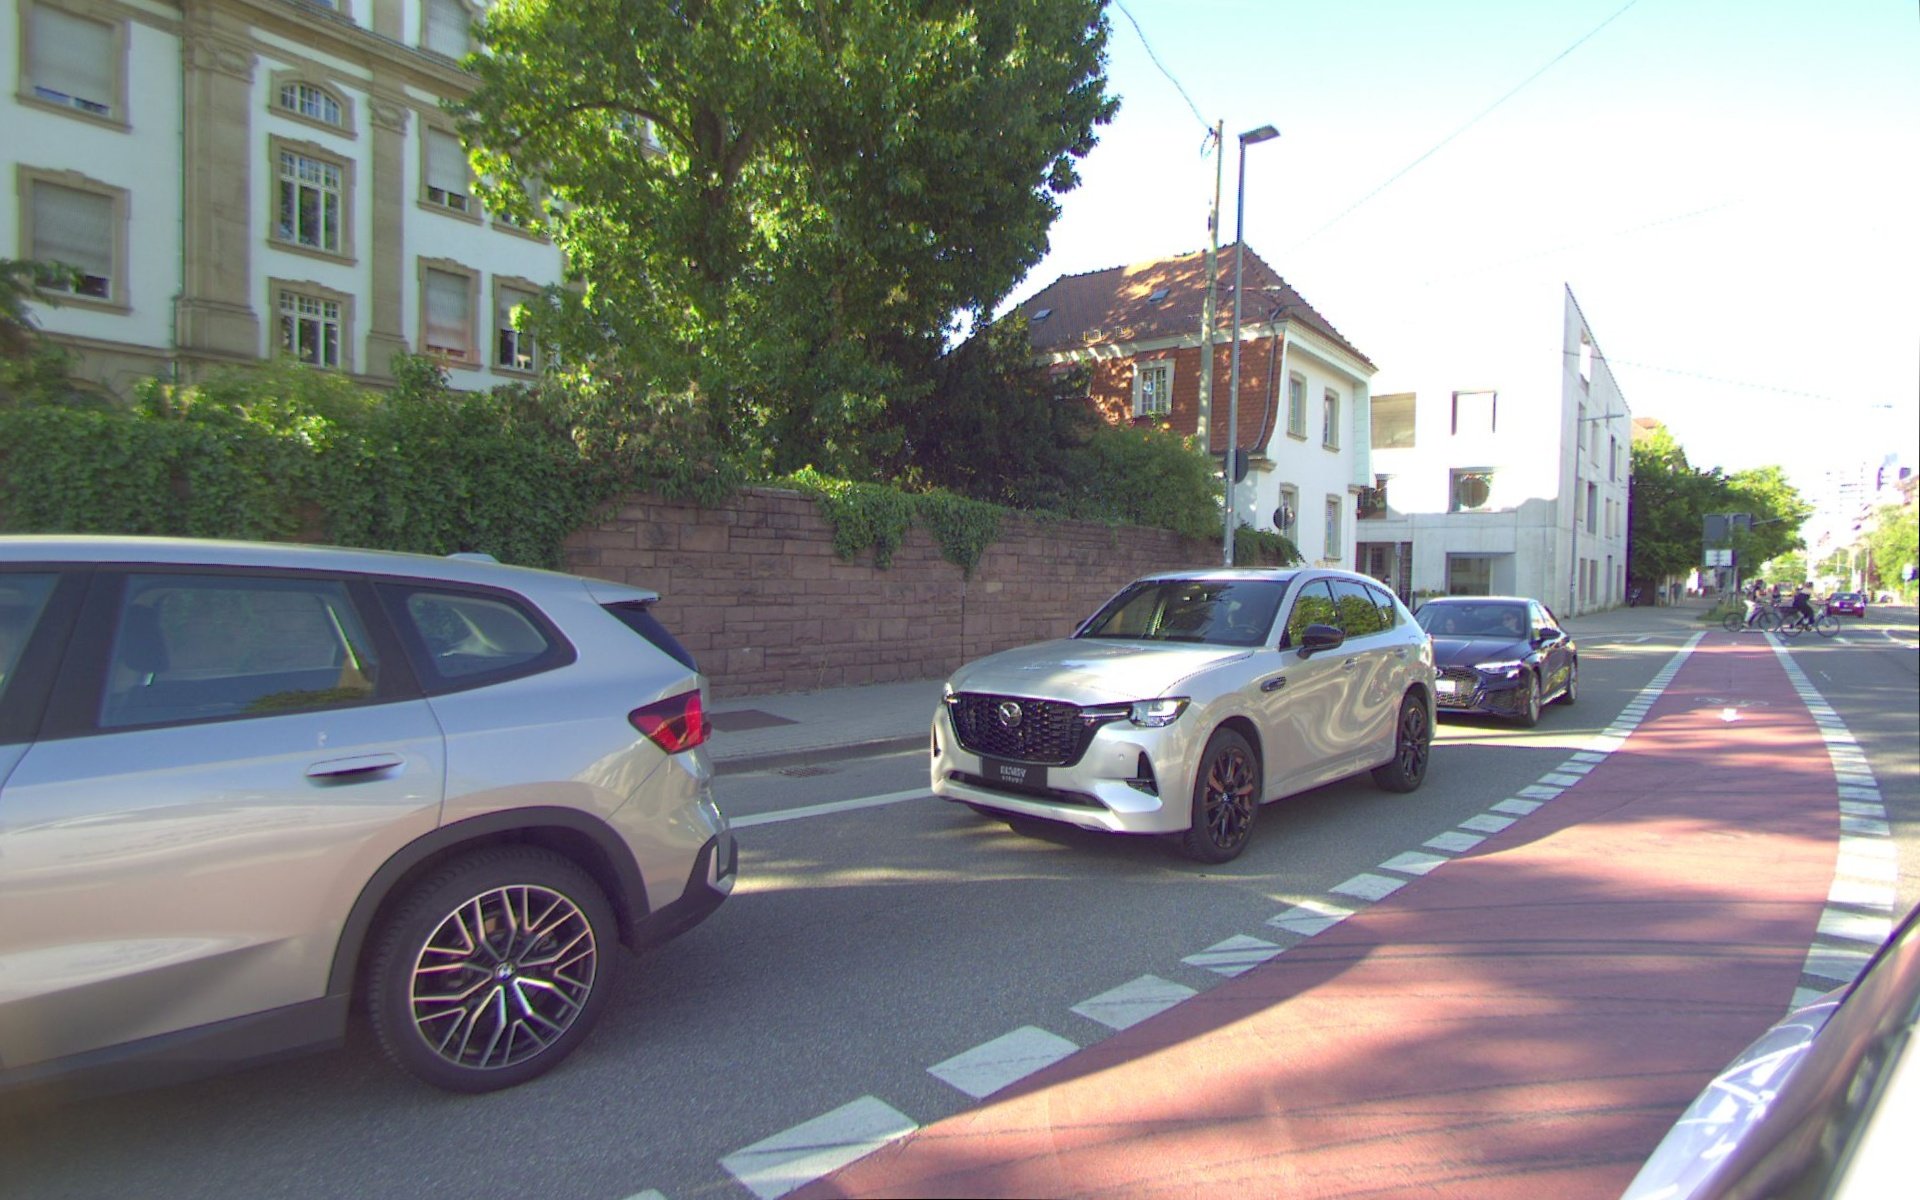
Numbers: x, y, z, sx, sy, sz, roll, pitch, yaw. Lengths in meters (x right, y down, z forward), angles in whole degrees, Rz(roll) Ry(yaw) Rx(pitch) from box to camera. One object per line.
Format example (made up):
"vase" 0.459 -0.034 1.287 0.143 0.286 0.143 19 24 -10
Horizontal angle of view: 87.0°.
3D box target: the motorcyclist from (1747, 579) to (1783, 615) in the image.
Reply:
"motorcyclist" 29.365 -0.104 36.915 0.845 1.266 0.670 2 2 26

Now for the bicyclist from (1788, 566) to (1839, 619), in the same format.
"bicyclist" 27.632 -0.258 32.771 1.013 1.667 0.673 1 1 12

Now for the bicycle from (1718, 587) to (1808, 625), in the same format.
"bicycle" 29.291 0.193 36.954 2.432 1.266 0.670 2 2 26

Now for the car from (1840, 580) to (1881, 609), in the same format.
"car" 51.905 -0.333 58.322 1.644 1.580 3.593 0 0 44

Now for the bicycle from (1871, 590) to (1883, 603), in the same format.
"bicycle" 98.309 -0.382 108.501 2.414 1.266 0.675 0 1 -41

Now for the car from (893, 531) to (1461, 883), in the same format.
"car" 1.811 0.492 7.227 1.940 1.713 4.460 0 1 44

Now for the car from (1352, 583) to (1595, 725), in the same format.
"car" 6.413 0.527 12.437 1.782 1.451 3.941 0 1 41

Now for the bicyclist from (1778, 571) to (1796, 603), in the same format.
"bicyclist" 44.141 -0.690 54.013 0.673 1.667 1.014 2 2 40

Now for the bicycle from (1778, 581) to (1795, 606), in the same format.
"bicycle" 44.183 -0.355 54.087 0.673 1.265 2.421 2 2 40

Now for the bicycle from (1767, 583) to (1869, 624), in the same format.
"bicycle" 27.743 0.100 32.756 2.419 1.266 0.674 2 1 13

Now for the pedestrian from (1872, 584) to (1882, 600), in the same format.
"pedestrian" 98.309 -0.839 108.488 0.803 1.668 0.675 0 1 -41

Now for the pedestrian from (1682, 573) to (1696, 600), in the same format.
"pedestrian" 46.694 -0.878 64.814 0.673 1.668 0.806 1 1 40

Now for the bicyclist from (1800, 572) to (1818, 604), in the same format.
"bicyclist" 44.583 -0.638 53.152 0.673 1.667 1.014 2 2 40

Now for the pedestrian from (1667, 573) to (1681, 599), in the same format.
"pedestrian" 46.080 -0.883 65.337 0.673 1.668 0.806 1 1 40

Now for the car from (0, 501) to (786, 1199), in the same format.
"car" -2.831 0.578 2.956 4.248 1.614 1.792 0 0 -36

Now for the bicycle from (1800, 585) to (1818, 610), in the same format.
"bicycle" 44.549 -0.158 53.136 0.673 1.265 2.421 2 2 40
